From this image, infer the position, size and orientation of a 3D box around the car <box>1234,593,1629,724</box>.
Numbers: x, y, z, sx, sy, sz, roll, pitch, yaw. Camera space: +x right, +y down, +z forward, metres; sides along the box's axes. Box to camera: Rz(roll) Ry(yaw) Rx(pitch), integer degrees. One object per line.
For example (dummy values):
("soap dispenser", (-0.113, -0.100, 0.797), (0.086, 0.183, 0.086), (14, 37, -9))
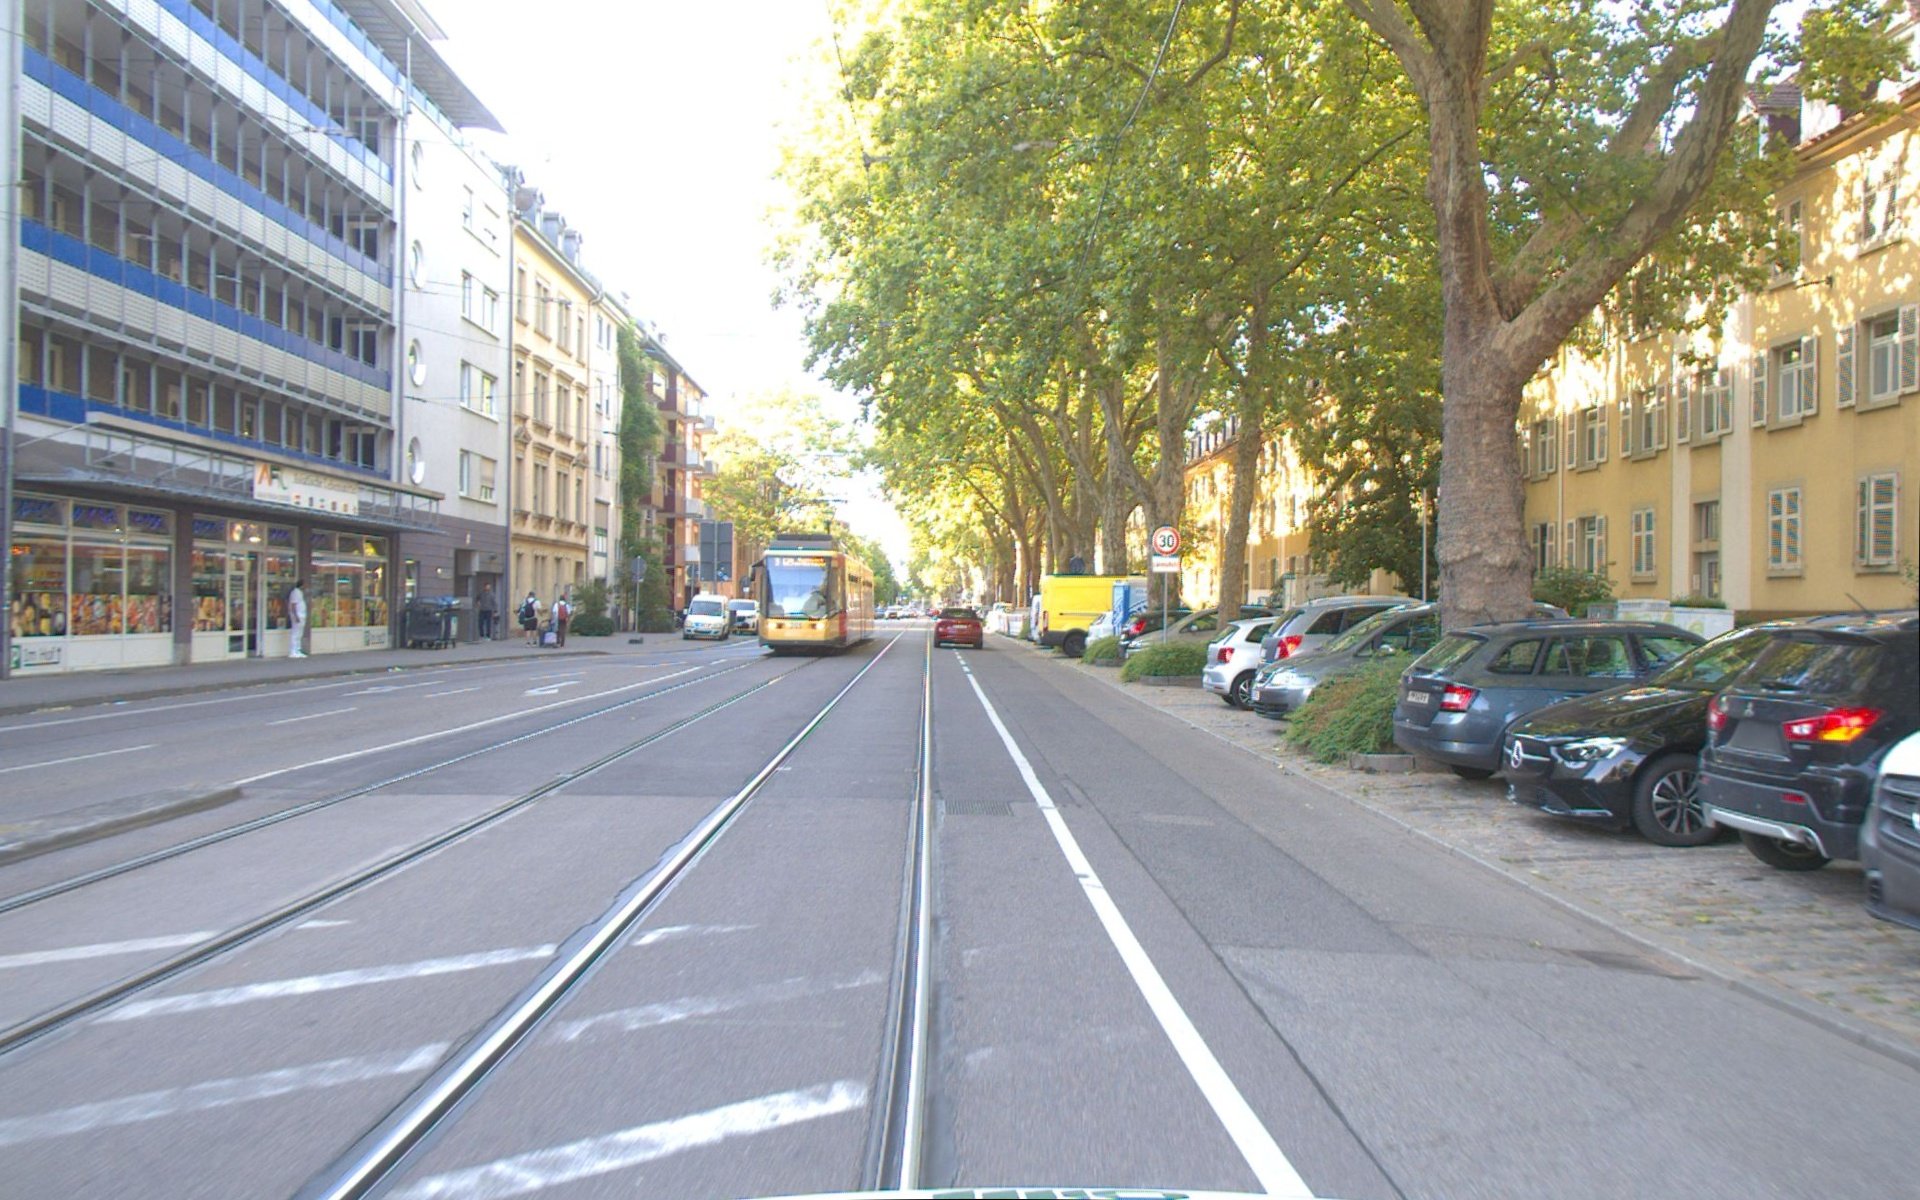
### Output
("car", (6.032, 0.725, 21.549), (4.616, 1.630, 1.919), (0, 0, 0))

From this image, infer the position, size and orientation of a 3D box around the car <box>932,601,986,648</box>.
("car", (-0.033, 0.889, 60.122), (1.855, 1.592, 4.392), (-1, -1, 0))

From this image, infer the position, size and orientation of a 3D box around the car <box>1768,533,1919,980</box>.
("car", (6.537, 0.605, 7.165), (5.115, 1.858, 1.929), (-1, -1, -2))

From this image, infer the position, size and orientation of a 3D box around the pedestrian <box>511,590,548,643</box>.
("pedestrian", (-13.545, 0.518, 52.090), (0.874, 1.653, 1.034), (0, 0, -1))

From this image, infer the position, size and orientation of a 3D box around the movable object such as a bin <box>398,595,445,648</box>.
("movable object such as a bin", (-14.987, 0.603, 46.058), (0.993, 1.453, 1.143), (0, 0, -5))

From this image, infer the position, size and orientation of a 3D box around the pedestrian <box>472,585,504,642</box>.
("pedestrian", (-15.847, 0.451, 55.505), (0.882, 1.897, 0.782), (0, 0, -29))

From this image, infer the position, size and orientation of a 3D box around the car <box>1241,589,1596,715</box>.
("car", (6.555, 0.724, 24.002), (4.616, 1.752, 1.919), (0, 0, -1))

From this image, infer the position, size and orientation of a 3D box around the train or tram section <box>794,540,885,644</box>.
("train or tram section", (-4.632, -0.278, 65.932), (2.774, 3.702, 12.815), (0, 0, 0))

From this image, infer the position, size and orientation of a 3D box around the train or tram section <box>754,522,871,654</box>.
("train or tram section", (-4.476, -0.323, 52.943), (2.803, 3.702, 13.194), (0, 0, -1))

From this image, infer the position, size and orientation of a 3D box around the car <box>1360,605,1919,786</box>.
("car", (6.143, 0.824, 15.102), (4.494, 1.532, 1.918), (0, 0, -3))

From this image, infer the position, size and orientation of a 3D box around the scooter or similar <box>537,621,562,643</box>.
("scooter or similar", (-12.849, 0.994, 51.779), (0.612, 0.659, 0.766), (0, 0, -1))

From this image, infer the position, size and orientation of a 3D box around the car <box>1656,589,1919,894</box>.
("car", (6.698, 0.766, 9.827), (4.317, 1.630, 1.942), (0, 0, 0))

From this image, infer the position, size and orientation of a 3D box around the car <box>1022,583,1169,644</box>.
("car", (5.032, 0.483, 61.837), (5.331, 2.230, 2.061), (0, 0, 0))

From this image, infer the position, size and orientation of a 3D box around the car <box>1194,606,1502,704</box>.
("car", (6.311, 0.876, 27.236), (4.616, 1.561, 1.919), (0, 0, -1))

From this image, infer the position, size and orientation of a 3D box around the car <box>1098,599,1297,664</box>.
("car", (5.892, 0.774, 41.362), (4.619, 1.561, 1.918), (0, 0, -4))

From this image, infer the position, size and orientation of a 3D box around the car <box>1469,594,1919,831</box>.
("car", (6.405, 0.775, 12.369), (4.616, 1.630, 1.919), (0, 0, 0))

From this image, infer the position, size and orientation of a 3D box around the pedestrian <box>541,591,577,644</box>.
("pedestrian", (-12.723, 0.543, 52.522), (0.874, 1.653, 1.034), (0, 0, -1))

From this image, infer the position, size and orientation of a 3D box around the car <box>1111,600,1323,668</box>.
("car", (5.969, 0.779, 38.704), (4.618, 1.561, 1.918), (0, 0, -3))

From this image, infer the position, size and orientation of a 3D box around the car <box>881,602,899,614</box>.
("car", (-8.723, 1.000, 205.476), (1.955, 1.536, 3.995), (0, 0, -5))

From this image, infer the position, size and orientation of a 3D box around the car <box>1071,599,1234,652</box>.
("car", (5.734, 0.747, 49.630), (4.618, 1.561, 1.919), (0, 0, -3))

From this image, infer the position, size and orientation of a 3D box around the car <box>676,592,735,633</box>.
("car", (-10.369, 0.491, 67.666), (1.855, 1.591, 4.391), (0, 0, -2))

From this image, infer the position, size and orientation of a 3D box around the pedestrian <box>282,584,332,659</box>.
("pedestrian", (-15.030, 0.479, 38.075), (1.014, 1.691, 1.220), (0, 0, -20))

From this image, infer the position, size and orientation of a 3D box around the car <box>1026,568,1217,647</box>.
("car", (5.039, 0.229, 52.178), (5.824, 2.407, 2.061), (0, 0, 0))

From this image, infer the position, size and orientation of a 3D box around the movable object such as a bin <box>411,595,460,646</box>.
("movable object such as a bin", (-15.058, 0.578, 47.493), (0.992, 1.453, 1.256), (0, 0, 0))

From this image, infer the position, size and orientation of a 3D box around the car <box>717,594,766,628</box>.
("car", (-10.318, 0.512, 78.252), (1.855, 1.591, 4.391), (0, 0, -2))
